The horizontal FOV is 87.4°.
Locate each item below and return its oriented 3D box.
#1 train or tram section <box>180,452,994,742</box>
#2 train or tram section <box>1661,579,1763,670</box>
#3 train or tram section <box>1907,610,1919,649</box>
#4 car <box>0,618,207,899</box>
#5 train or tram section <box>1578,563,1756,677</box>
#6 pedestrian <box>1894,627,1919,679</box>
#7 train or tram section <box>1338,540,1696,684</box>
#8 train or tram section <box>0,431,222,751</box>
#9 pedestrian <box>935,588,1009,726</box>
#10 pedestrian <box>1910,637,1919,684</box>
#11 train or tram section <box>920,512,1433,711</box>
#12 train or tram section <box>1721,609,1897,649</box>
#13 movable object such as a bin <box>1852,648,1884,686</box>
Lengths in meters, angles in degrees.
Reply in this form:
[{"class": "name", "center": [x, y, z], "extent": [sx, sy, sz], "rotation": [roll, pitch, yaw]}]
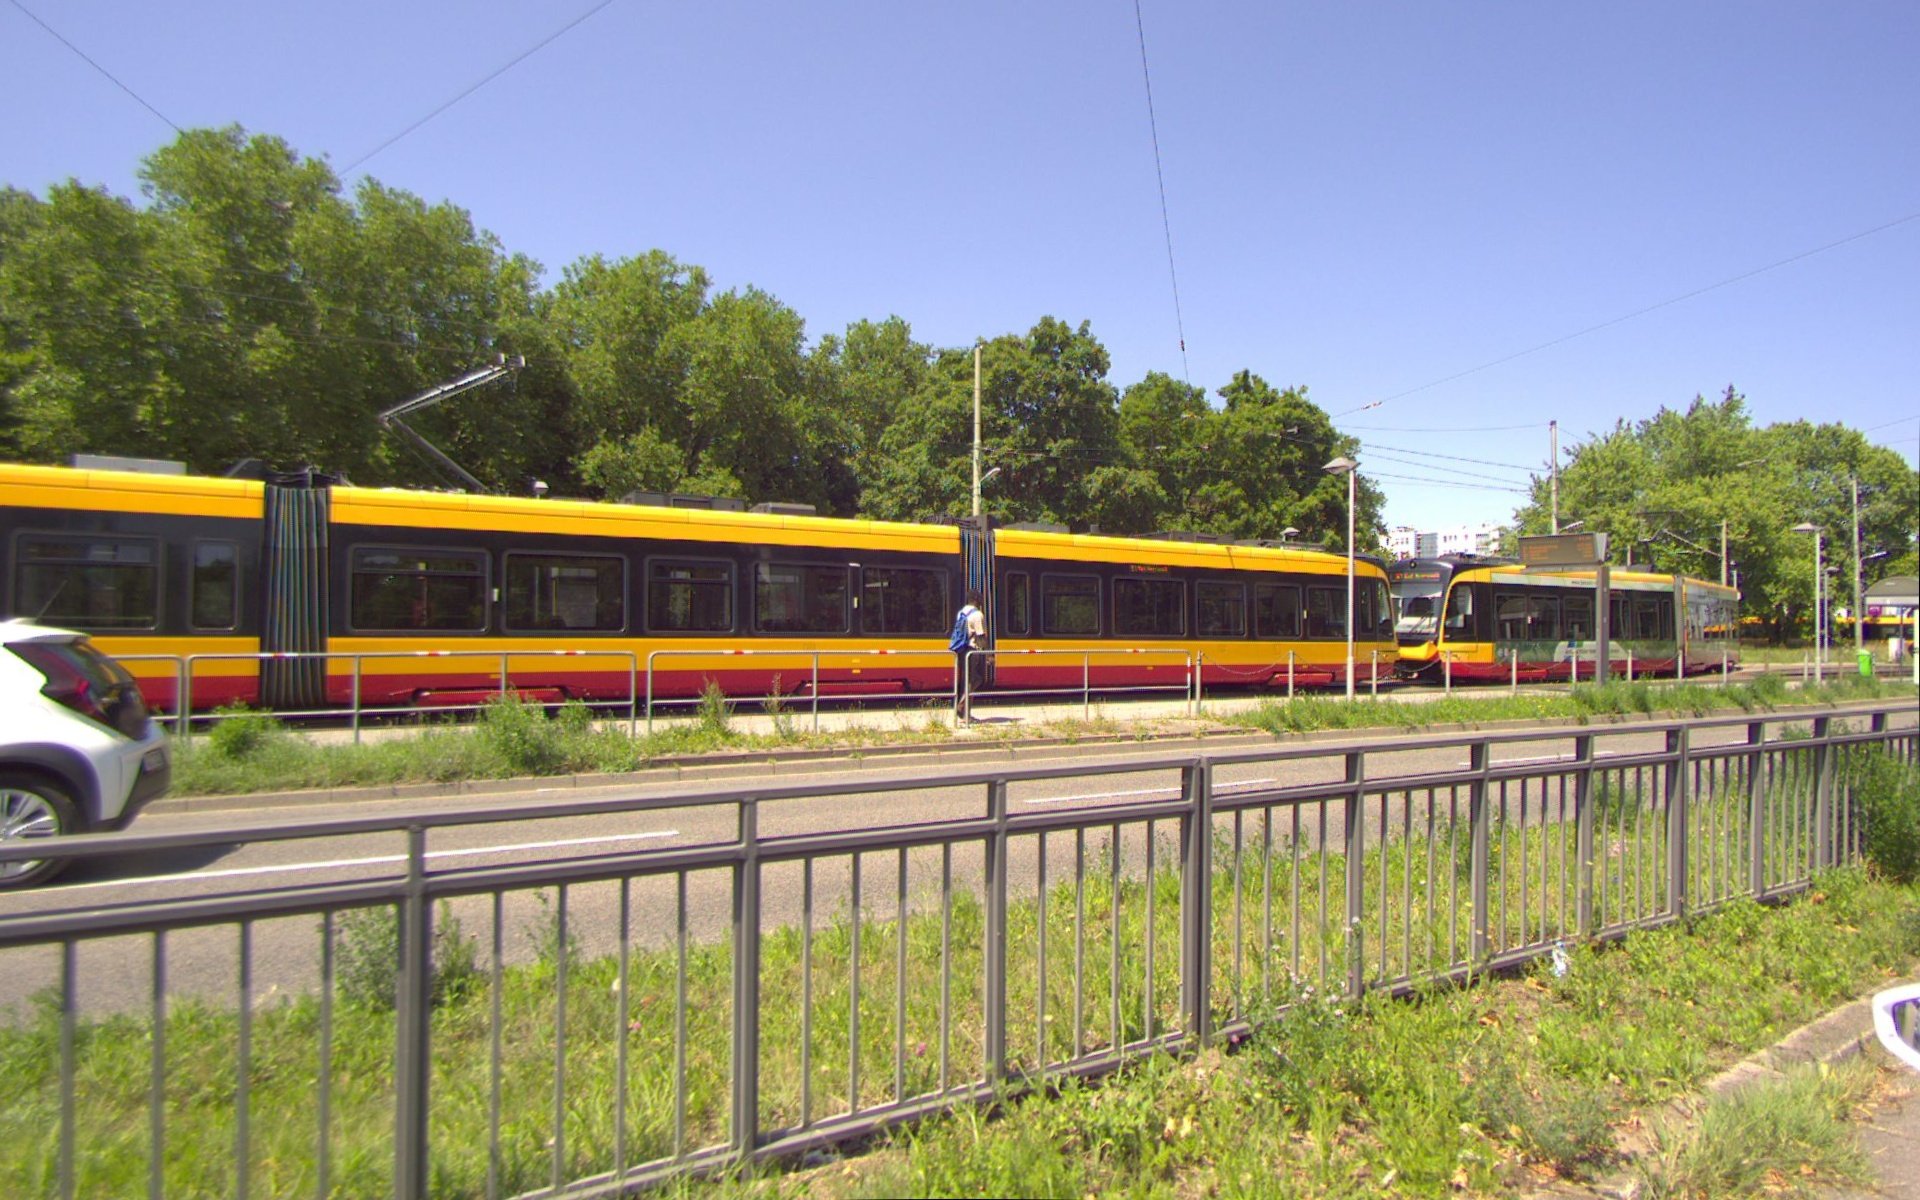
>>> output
[{"class": "train or tram section", "center": [-5.508, 0.065, 17.572], "extent": [12.443, 3.791, 3.030], "rotation": [1, 0, -29]}, {"class": "train or tram section", "center": [34.599, 1.048, 46.626], "extent": [3.002, 3.673, 12.416], "rotation": [1, 0, 33]}, {"class": "train or tram section", "center": [90.201, 2.740, 86.622], "extent": [2.996, 3.512, 12.709], "rotation": [1, 0, -15]}, {"class": "car", "center": [-6.683, 0.861, 5.663], "extent": [3.677, 1.524, 1.760], "rotation": [1, -1, -31]}, {"class": "train or tram section", "center": [26.760, 0.717, 37.628], "extent": [12.364, 3.673, 3.015], "rotation": [1, 0, -43]}, {"class": "pedestrian", "center": [29.462, 1.632, 30.805], "extent": [0.974, 1.567, 0.926], "rotation": [1, 0, -31]}, {"class": "train or tram section", "center": [17.257, 0.415, 30.417], "extent": [13.738, 3.673, 3.028], "rotation": [1, 0, -31]}, {"class": "train or tram section", "center": [-15.842, -0.188, 11.611], "extent": [11.401, 3.907, 2.937], "rotation": [1, 0, -30]}, {"class": "pedestrian", "center": [0.154, 0.753, 13.666], "extent": [0.767, 1.815, 0.629], "rotation": [1, 0, -30]}, {"class": "pedestrian", "center": [27.532, 1.723, 28.447], "extent": [0.830, 1.300, 0.697], "rotation": [1, 0, -31]}, {"class": "train or tram section", "center": [5.599, 0.325, 23.783], "extent": [13.098, 3.817, 3.030], "rotation": [1, 0, -29]}, {"class": "train or tram section", "center": [84.154, 2.763, 99.997], "extent": [3.023, 3.512, 13.105], "rotation": [1, 0, -41]}, {"class": "movable object such as a bin", "center": [24.320, 1.780, 26.906], "extent": [0.638, 0.991, 0.478], "rotation": [1, -1, -33]}]
